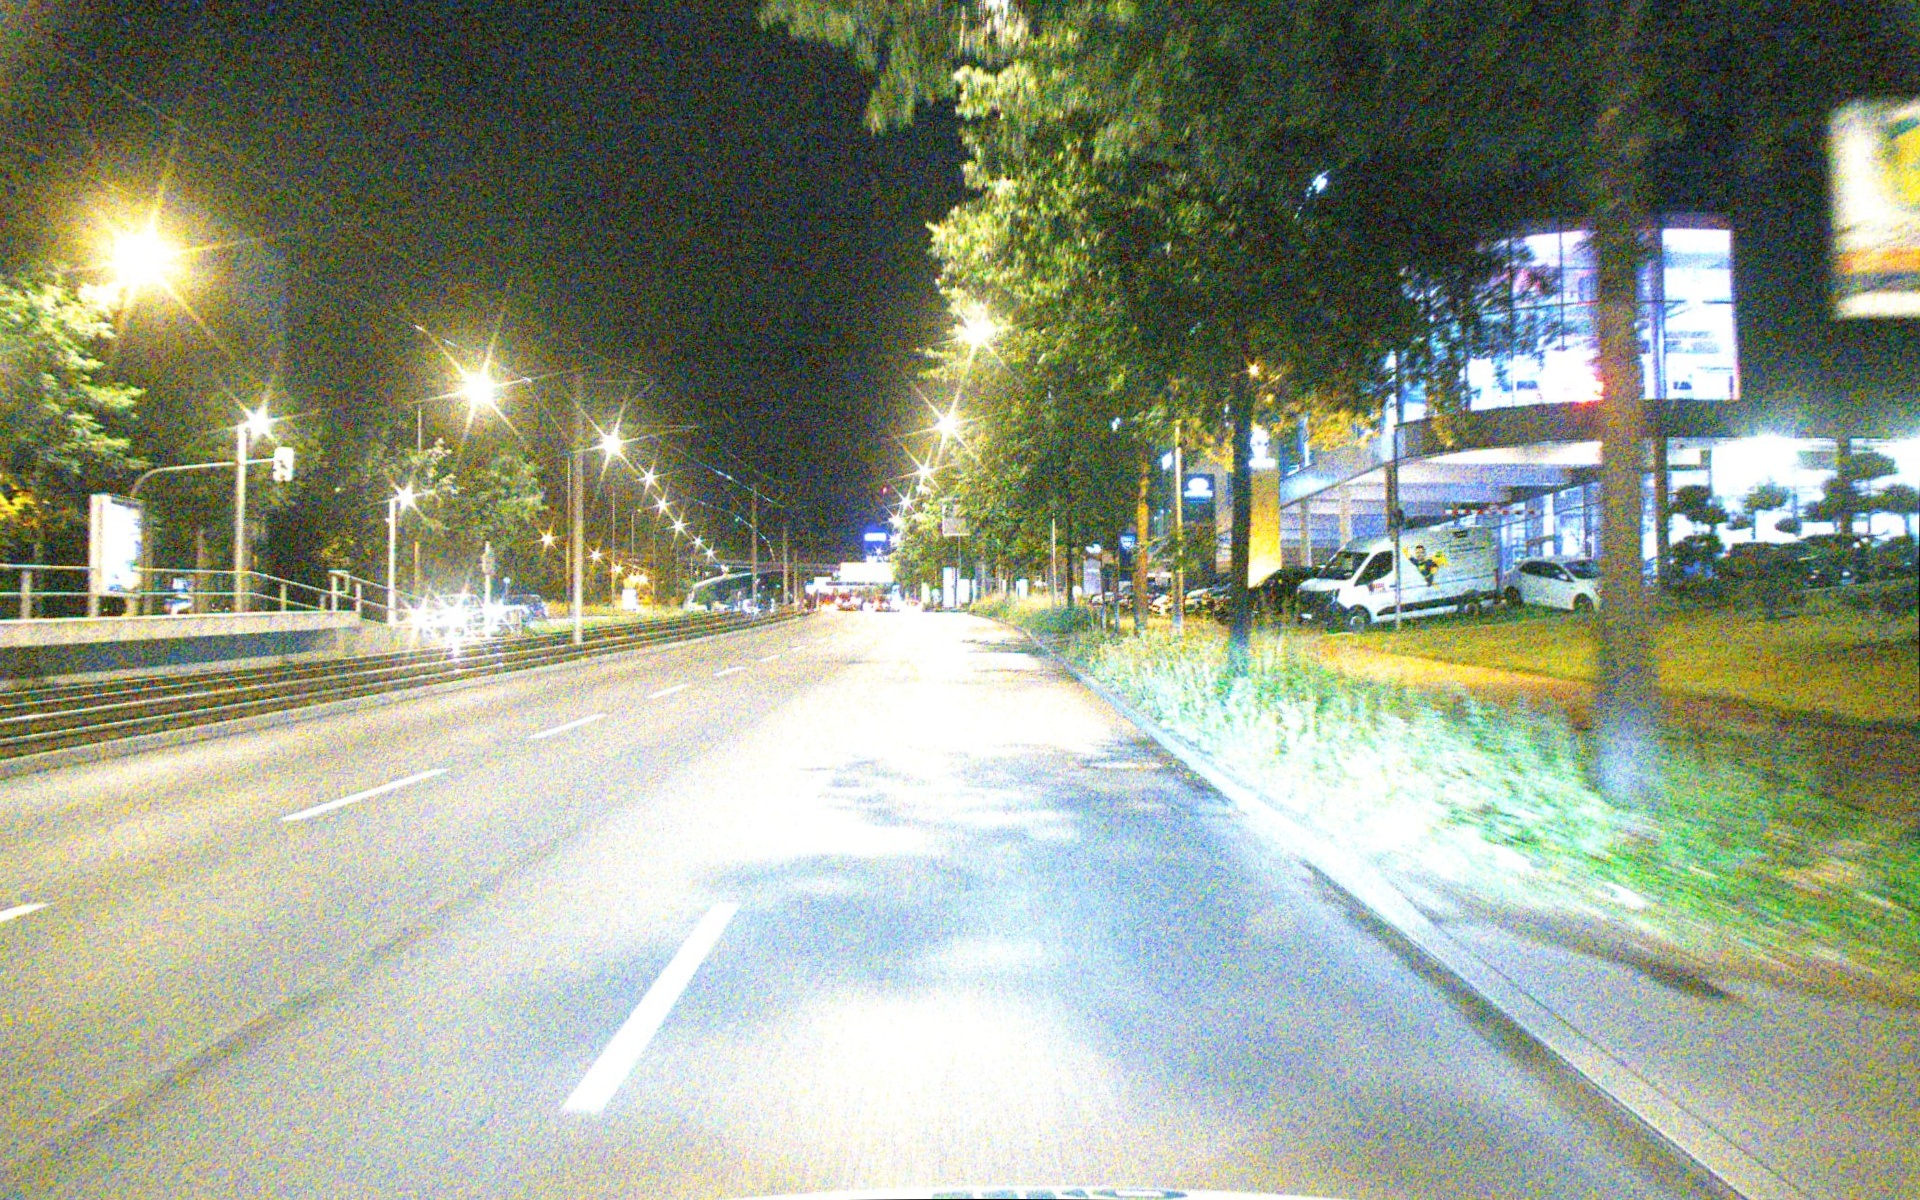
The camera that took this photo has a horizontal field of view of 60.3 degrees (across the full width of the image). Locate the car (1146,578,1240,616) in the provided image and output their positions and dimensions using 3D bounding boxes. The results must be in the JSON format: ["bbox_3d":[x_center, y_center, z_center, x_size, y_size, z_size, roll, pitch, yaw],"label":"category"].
[{"bbox_3d":[10.430,-0.136,74.016,3.739,1.478,1.711,-3,1,-15],"label":"car"}]

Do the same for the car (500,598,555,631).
[{"bbox_3d":[-21.057,0.691,80.658,1.626,1.543,3.910,0,0,1],"label":"car"}]

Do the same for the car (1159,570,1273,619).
[{"bbox_3d":[10.107,-0.213,65.362,4.010,1.595,1.849,-5,1,-12],"label":"car"}]

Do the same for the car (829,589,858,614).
[{"bbox_3d":[-9.824,0.167,140.241,2.217,2.049,4.824,0,0,-2],"label":"car"}]

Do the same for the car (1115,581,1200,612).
[{"bbox_3d":[10.124,-0.175,84.670,3.934,1.416,1.813,-2,2,-24],"label":"car"}]

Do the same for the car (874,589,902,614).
[{"bbox_3d":[-6.172,0.140,141.667,2.308,2.166,4.824,0,0,-2],"label":"car"}]

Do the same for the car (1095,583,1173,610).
[{"bbox_3d":[9.767,-0.199,92.762,3.926,1.448,1.899,0,1,-19],"label":"car"}]

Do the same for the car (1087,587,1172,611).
[{"bbox_3d":[9.781,-0.061,95.484,4.572,1.286,1.931,-1,1,-26],"label":"car"}]

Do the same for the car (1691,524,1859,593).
[{"bbox_3d":[22.585,-1.128,45.982,1.771,1.604,3.939,-6,1,-23],"label":"car"}]

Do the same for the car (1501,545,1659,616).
[{"bbox_3d":[16.832,-0.504,45.072,1.781,1.742,3.939,-3,0,-23],"label":"car"}]

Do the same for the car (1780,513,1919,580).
[{"bbox_3d":[25.509,-1.500,46.744,1.754,1.628,3.939,-6,1,-23],"label":"car"}]

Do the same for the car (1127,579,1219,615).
[{"bbox_3d":[10.196,-0.149,79.208,3.960,1.397,1.817,-4,1,-17],"label":"car"}]

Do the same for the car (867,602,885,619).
[{"bbox_3d":[-9.362,1.152,185.006,1.849,1.892,3.999,0,0,-1],"label":"car"}]

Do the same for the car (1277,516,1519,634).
[{"bbox_3d":[11.865,-0.689,44.819,5.926,2.572,2.272,-6,1,-18],"label":"car"}]

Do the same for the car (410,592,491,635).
[{"bbox_3d":[-18.370,0.513,59.833,1.748,1.523,4.172,0,-1,-2],"label":"car"}]

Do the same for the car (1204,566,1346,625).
[{"bbox_3d":[10.378,-0.155,54.592,4.129,1.692,1.955,-3,0,-12],"label":"car"}]

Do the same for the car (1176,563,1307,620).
[{"bbox_3d":[10.602,-0.327,62.447,4.383,1.716,1.994,-5,1,-12],"label":"car"}]

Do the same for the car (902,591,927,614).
[{"bbox_3d":[-4.360,0.236,158.204,2.378,2.150,4.824,0,0,-2],"label":"car"}]

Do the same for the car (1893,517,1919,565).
[{"bbox_3d":[28.915,-1.769,47.137,1.630,1.359,3.851,-2,0,-23],"label":"car"}]

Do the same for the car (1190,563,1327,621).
[{"bbox_3d":[10.759,-0.303,59.689,4.382,1.841,1.994,-3,1,-12],"label":"car"}]
